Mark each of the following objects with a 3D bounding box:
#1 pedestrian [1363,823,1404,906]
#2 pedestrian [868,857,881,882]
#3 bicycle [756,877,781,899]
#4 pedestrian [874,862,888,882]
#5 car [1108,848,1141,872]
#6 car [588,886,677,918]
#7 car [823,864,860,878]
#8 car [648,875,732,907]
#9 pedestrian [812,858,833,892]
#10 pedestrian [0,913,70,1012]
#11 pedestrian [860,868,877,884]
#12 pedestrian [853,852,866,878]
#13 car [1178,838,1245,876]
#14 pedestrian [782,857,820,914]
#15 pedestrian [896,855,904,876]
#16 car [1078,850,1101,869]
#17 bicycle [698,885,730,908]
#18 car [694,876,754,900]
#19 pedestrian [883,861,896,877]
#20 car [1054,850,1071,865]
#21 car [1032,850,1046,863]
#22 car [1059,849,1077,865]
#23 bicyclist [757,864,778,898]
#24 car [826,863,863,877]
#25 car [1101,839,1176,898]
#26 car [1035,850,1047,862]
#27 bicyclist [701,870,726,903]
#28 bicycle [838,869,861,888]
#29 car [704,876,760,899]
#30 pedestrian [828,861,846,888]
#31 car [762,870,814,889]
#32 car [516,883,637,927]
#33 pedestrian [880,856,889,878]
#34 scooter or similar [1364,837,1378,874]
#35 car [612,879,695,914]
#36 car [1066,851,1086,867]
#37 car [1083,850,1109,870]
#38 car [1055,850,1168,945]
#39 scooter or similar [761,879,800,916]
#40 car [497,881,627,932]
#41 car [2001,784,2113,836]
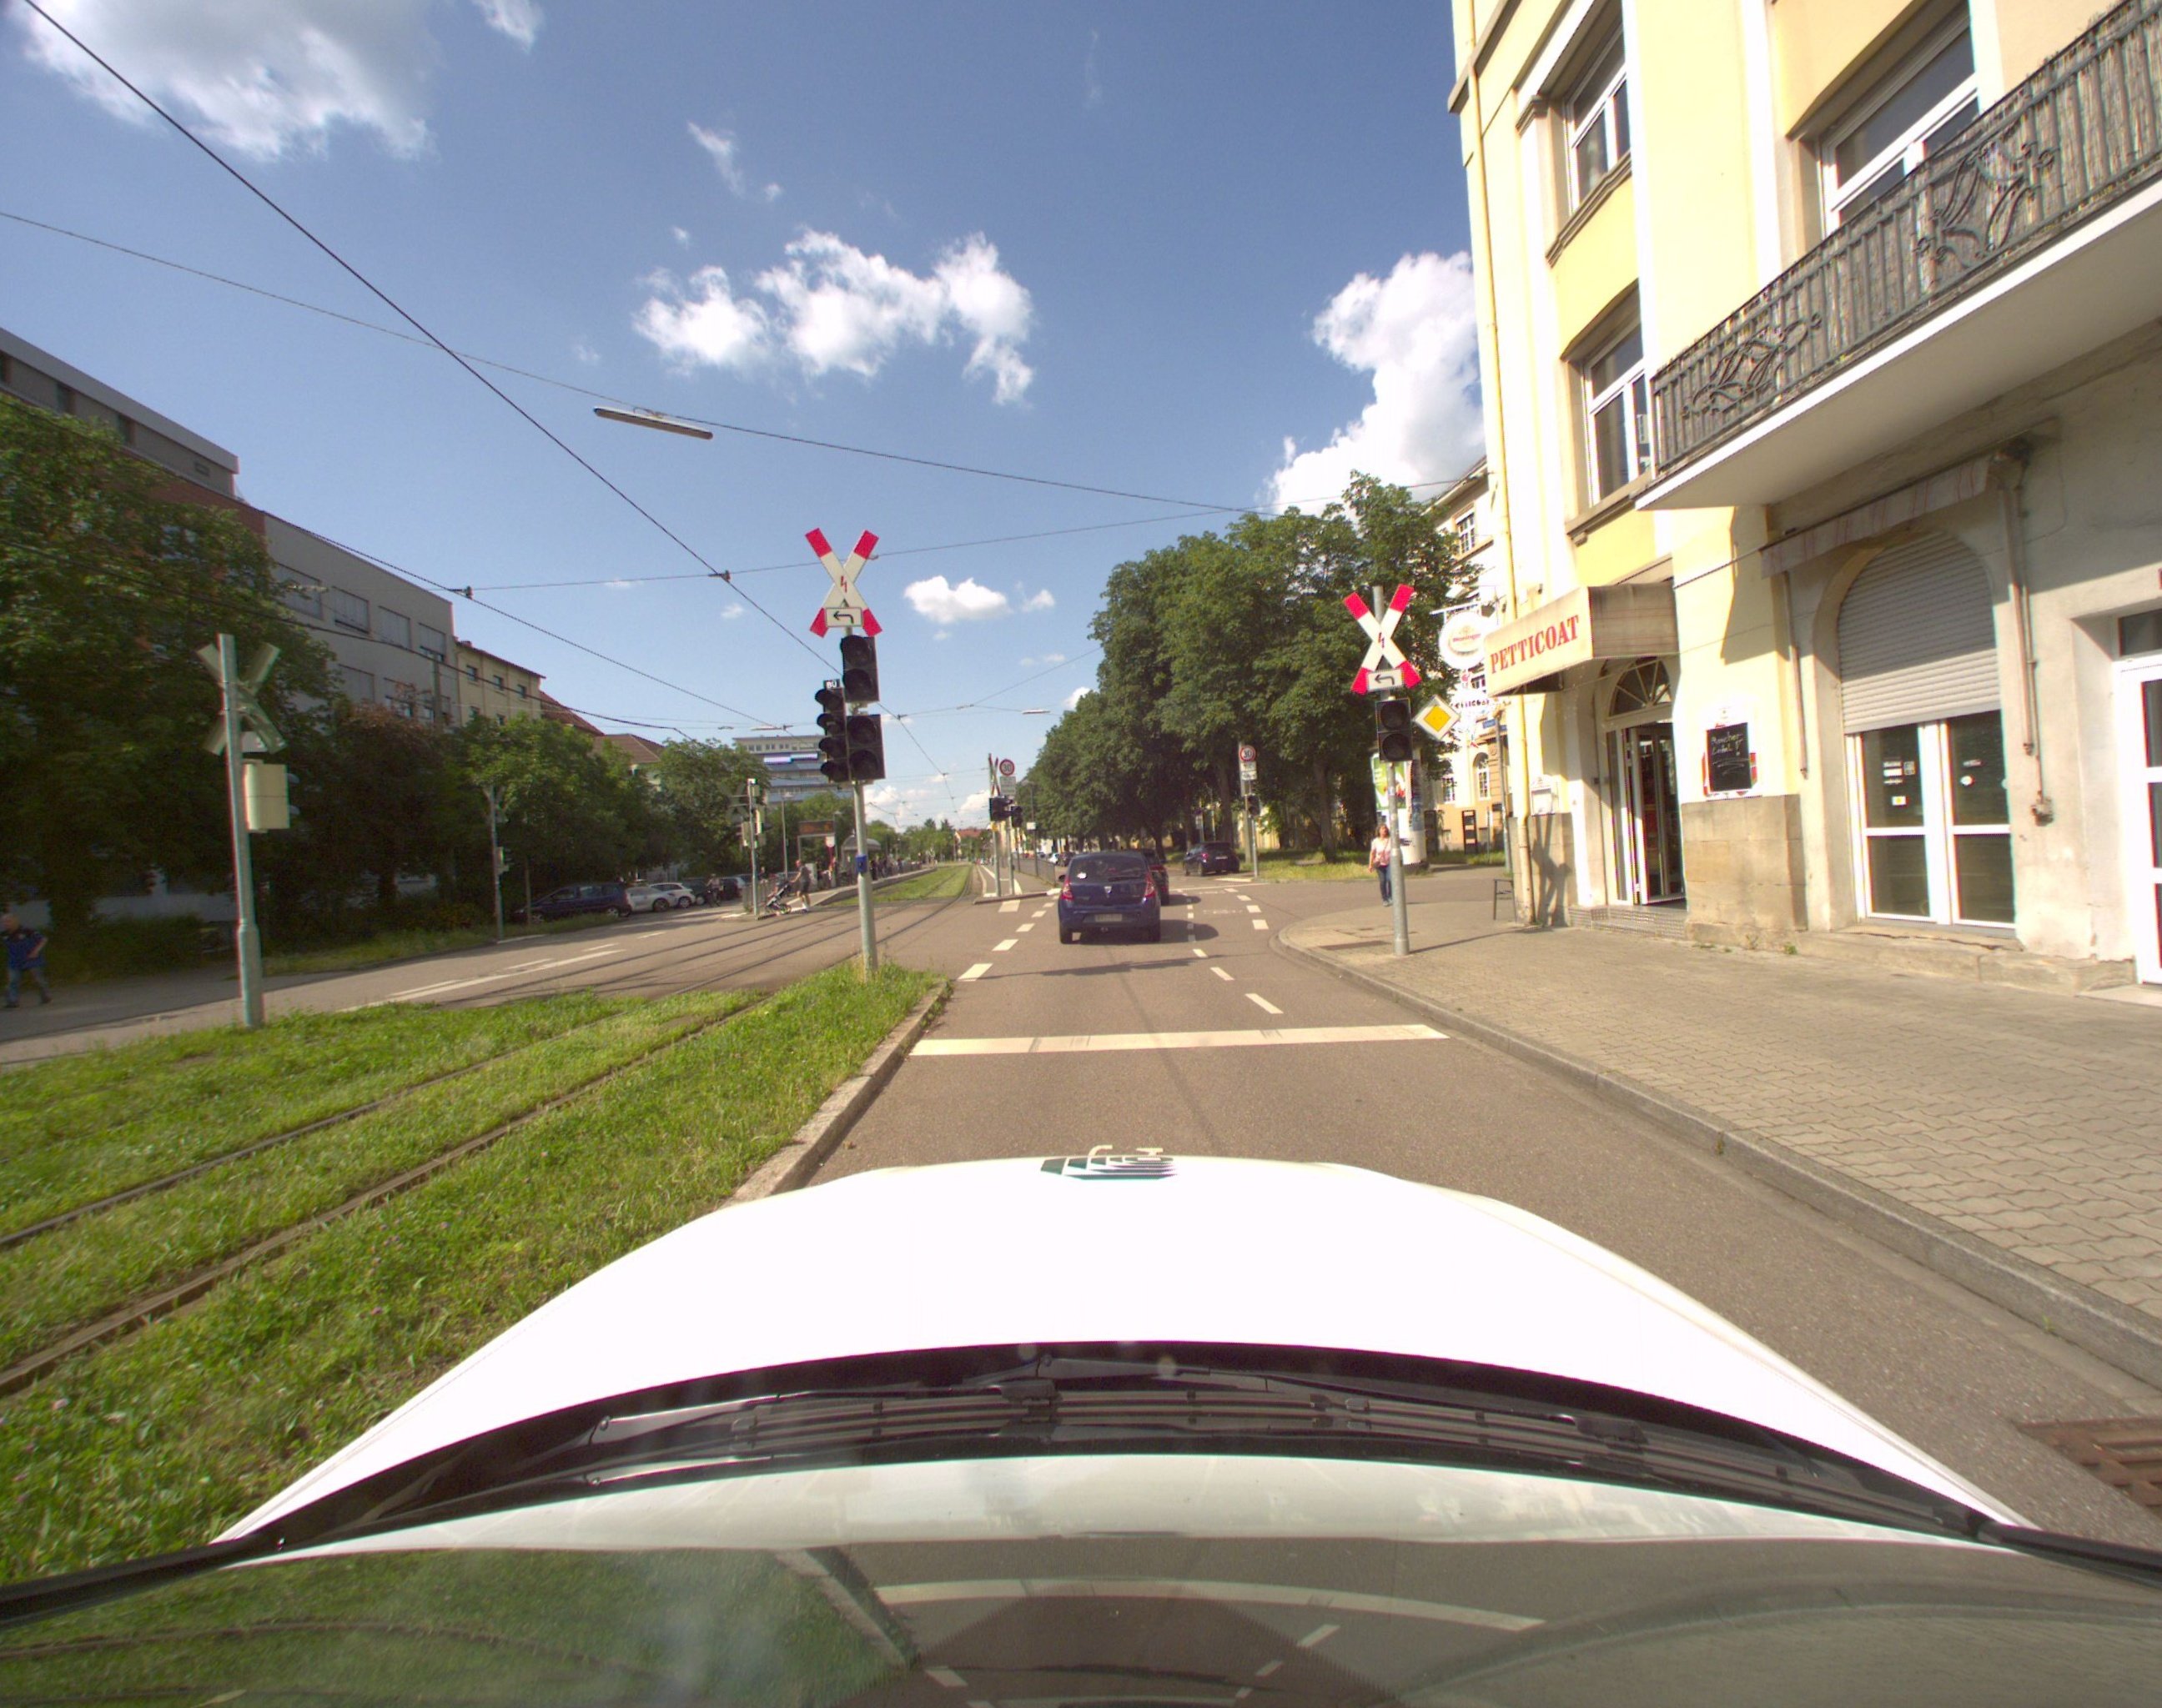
[{"bbox_3d":[6.283,0.208,16.909,0.666,1.648,0.767,-5,-1,21],"label":"pedestrian"},{"bbox_3d":[-15.200,1.154,59.971,0.602,1.765,0.639,-4,0,2],"label":"pedestrian"},{"bbox_3d":[-19.616,2.131,51.148,1.156,1.177,1.780,-5,3,-14],"label":"bicycle"},{"bbox_3d":[-14.812,1.330,60.350,0.648,1.425,0.566,-5,0,30],"label":"pedestrian"},{"bbox_3d":[2.945,0.408,56.401,1.856,1.445,3.997,-6,0,-2],"label":"car"},{"bbox_3d":[-21.609,2.298,39.307,1.525,1.236,3.410,-4,0,44],"label":"car"},{"bbox_3d":[-28.757,2.027,97.754,1.618,1.385,4.026,-4,0,38],"label":"car"},{"bbox_3d":[-22.875,2.151,47.799,1.669,1.456,4.025,-5,0,43],"label":"car"},{"bbox_3d":[-13.751,1.104,43.331,0.705,1.726,0.672,-4,0,35],"label":"pedestrian"},{"bbox_3d":[-18.962,1.940,14.626,0.555,1.657,0.747,-4,0,1],"label":"pedestrian"},{"bbox_3d":[-14.730,1.512,56.396,0.923,0.988,0.796,-5,-1,-5],"label":"pedestrian"},{"bbox_3d":[-14.950,0.756,55.027,0.654,1.692,0.655,-5,0,-7],"label":"pedestrian"},{"bbox_3d":[5.629,0.125,35.647,1.764,1.433,3.893,-5,0,-8],"label":"car"},{"bbox_3d":[-9.302,1.031,27.098,0.870,1.775,1.001,-4,0,-8],"label":"pedestrian"},{"bbox_3d":[-17.618,1.103,79.408,0.661,2.013,0.800,-4,0,-12],"label":"pedestrian"},{"bbox_3d":[0.738,0.465,72.644,1.847,1.515,3.997,-4,0,-2],"label":"car"},{"bbox_3d":[-18.657,2.146,41.449,0.679,0.970,2.176,-5,0,-3],"label":"bicycle"},{"bbox_3d":[-23.470,2.205,53.552,1.437,1.309,3.268,-4,0,35],"label":"car"},{"bbox_3d":[-18.795,1.436,79.770,1.033,1.437,0.698,-6,1,-22],"label":"pedestrian"},{"bbox_3d":[-2.218,0.399,99.010,1.616,1.749,3.991,-4,0,-6],"label":"car"},{"bbox_3d":[-6.010,0.313,117.656,1.825,1.761,3.997,-4,0,-2],"label":"car"},{"bbox_3d":[-1.433,0.296,90.584,1.823,1.537,3.997,-5,0,-2],"label":"car"},{"bbox_3d":[-19.679,1.687,51.124,0.949,2.013,1.568,-4,0,-14],"label":"bicyclist"},{"bbox_3d":[-29.847,2.045,102.931,4.022,1.447,1.707,-4,0,-42],"label":"car"},{"bbox_3d":[1.465,0.339,21.888,1.694,1.368,3.515,-4,1,0],"label":"car"},{"bbox_3d":[-6.130,0.294,123.769,1.664,1.771,3.996,-4,0,-3],"label":"car"},{"bbox_3d":[-18.659,1.648,41.359,0.783,1.581,0.862,-5,0,-4],"label":"bicyclist"},{"bbox_3d":[-13.650,1.433,48.015,0.683,0.974,1.772,-6,1,3],"label":"bicycle"},{"bbox_3d":[-24.147,2.290,56.412,1.437,1.309,3.268,-4,0,37],"label":"car"},{"bbox_3d":[-14.455,1.210,48.272,0.661,1.569,0.686,-5,0,1],"label":"pedestrian"},{"bbox_3d":[-26.136,2.267,72.720,1.694,1.367,4.026,-5,0,42],"label":"car"},{"bbox_3d":[-22.090,2.224,35.794,1.704,1.499,4.158,-4,0,44],"label":"car"},{"bbox_3d":[-16.093,1.053,66.680,0.489,1.712,0.461,-5,0,-17],"label":"pedestrian"},{"bbox_3d":[9.708,0.039,27.265,0.303,1.189,1.167,-4,0,16],"label":"scooter or similar"},{"bbox_3d":[-22.227,2.185,42.404,3.409,1.505,1.525,-4,0,-45],"label":"car"},{"bbox_3d":[-0.523,0.484,85.205,1.856,1.445,3.997,-5,0,-2],"label":"car"},{"bbox_3d":[1.245,0.486,67.913,1.856,1.445,3.997,-6,0,-2],"label":"car"},{"bbox_3d":[0.535,0.679,14.850,1.761,1.462,3.776,-2,0,1],"label":"car"},{"bbox_3d":[-9.835,1.418,26.687,0.954,1.064,0.795,-6,0,-8],"label":"scooter or similar"},{"bbox_3d":[-21.307,2.112,33.552,1.704,1.640,4.158,-4,0,44],"label":"car"},{"bbox_3d":[31.137,-1.378,26.080,1.367,1.456,3.288,-4,0,34],"label":"car"}]
